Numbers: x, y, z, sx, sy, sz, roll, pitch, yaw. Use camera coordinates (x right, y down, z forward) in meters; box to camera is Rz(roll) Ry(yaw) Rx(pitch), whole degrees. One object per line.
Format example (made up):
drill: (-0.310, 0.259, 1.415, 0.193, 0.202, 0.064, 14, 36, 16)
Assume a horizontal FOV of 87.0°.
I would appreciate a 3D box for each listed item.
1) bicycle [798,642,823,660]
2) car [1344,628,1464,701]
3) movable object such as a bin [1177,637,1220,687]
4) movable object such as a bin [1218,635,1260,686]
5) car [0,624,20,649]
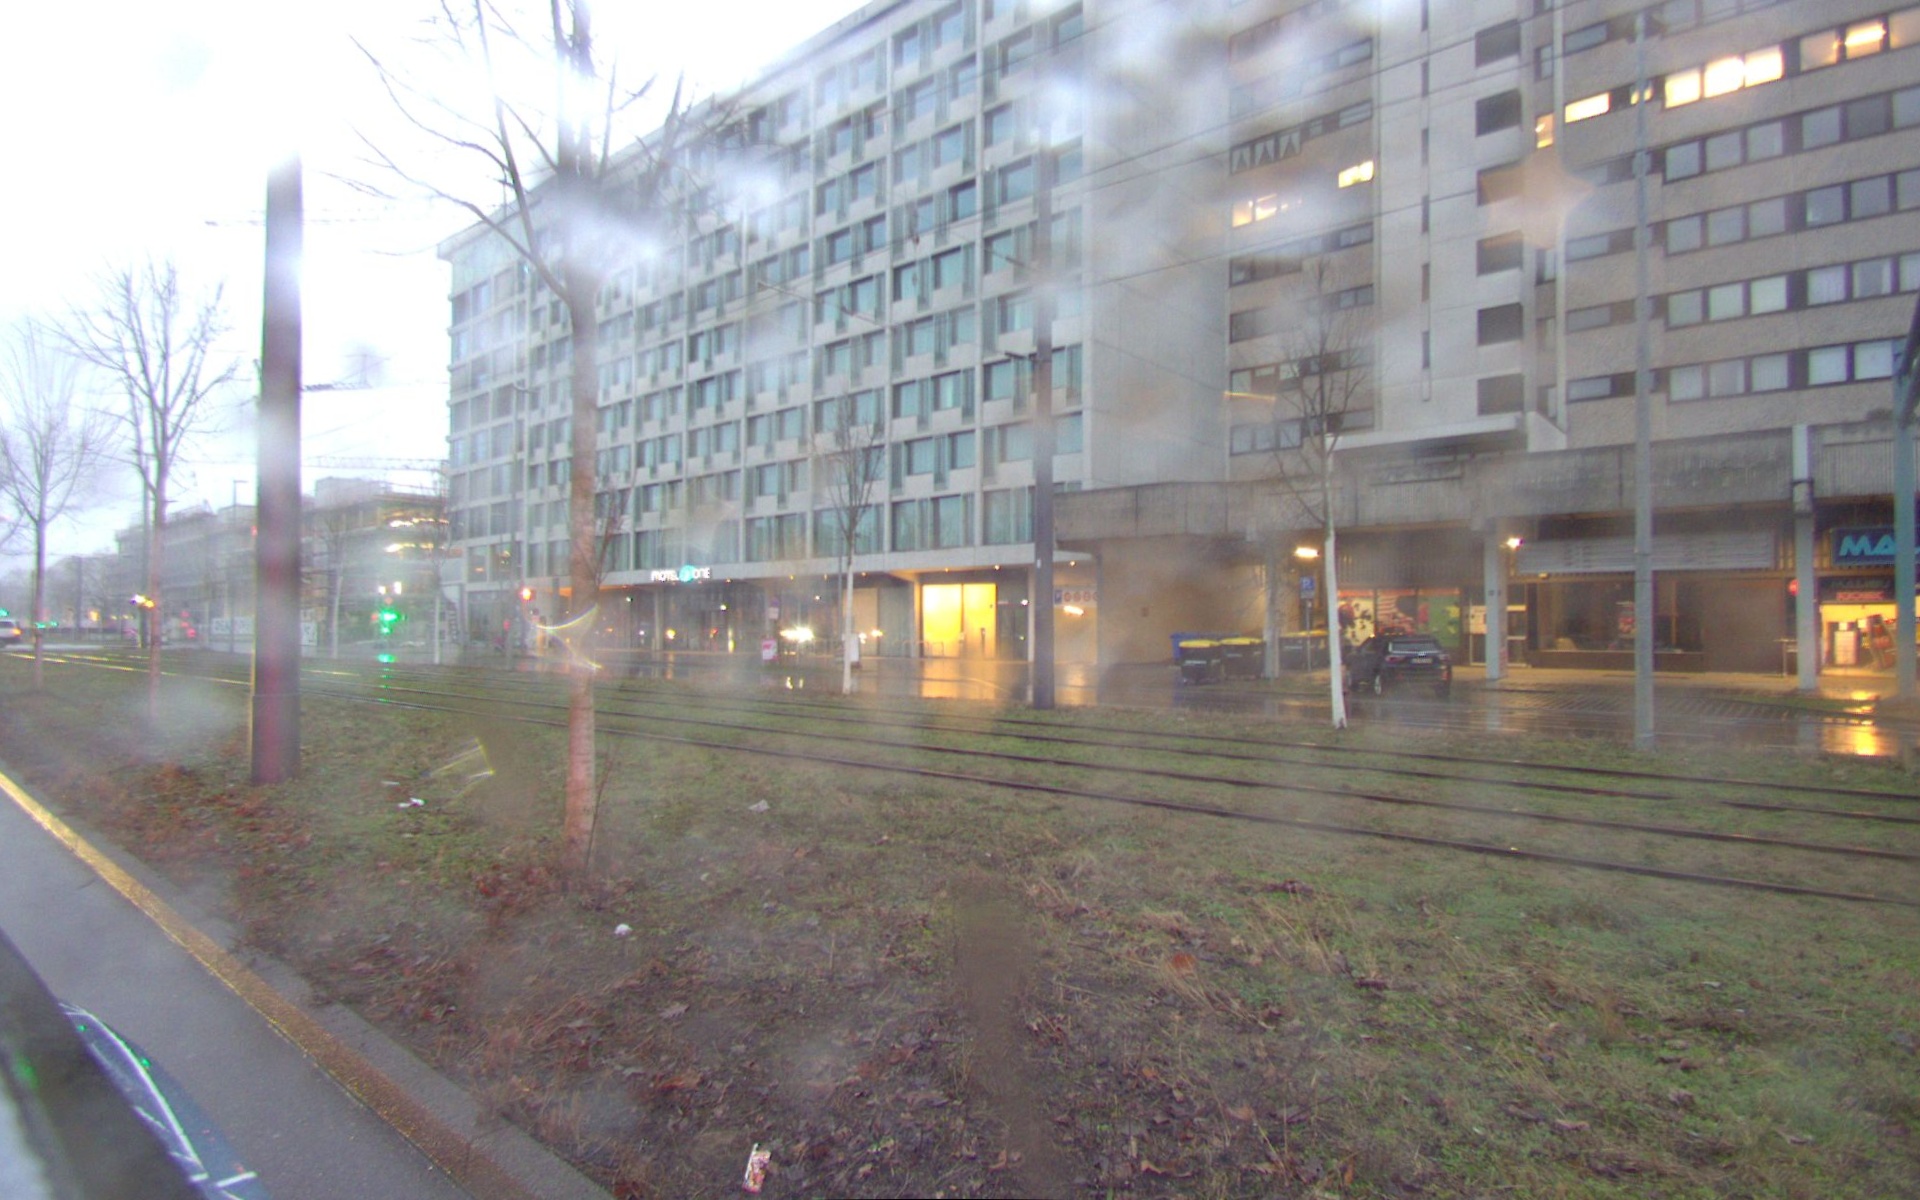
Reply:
bicycle: (-7.833, 2.688, 53.182, 0.465, 0.860, 1.332, -1, 0, 39)
car: (11.973, 1.684, 27.583, 1.962, 1.706, 4.131, -1, 0, 9)
movable object such as a bin: (7.339, 1.886, 31.093, 1.027, 1.437, 1.063, -1, 0, 30)
movable object such as a bin: (8.693, 1.859, 31.546, 1.008, 1.512, 1.042, -1, 0, 30)
car: (-64.622, 2.378, 65.786, 4.962, 1.682, 2.092, 1, -3, -39)
